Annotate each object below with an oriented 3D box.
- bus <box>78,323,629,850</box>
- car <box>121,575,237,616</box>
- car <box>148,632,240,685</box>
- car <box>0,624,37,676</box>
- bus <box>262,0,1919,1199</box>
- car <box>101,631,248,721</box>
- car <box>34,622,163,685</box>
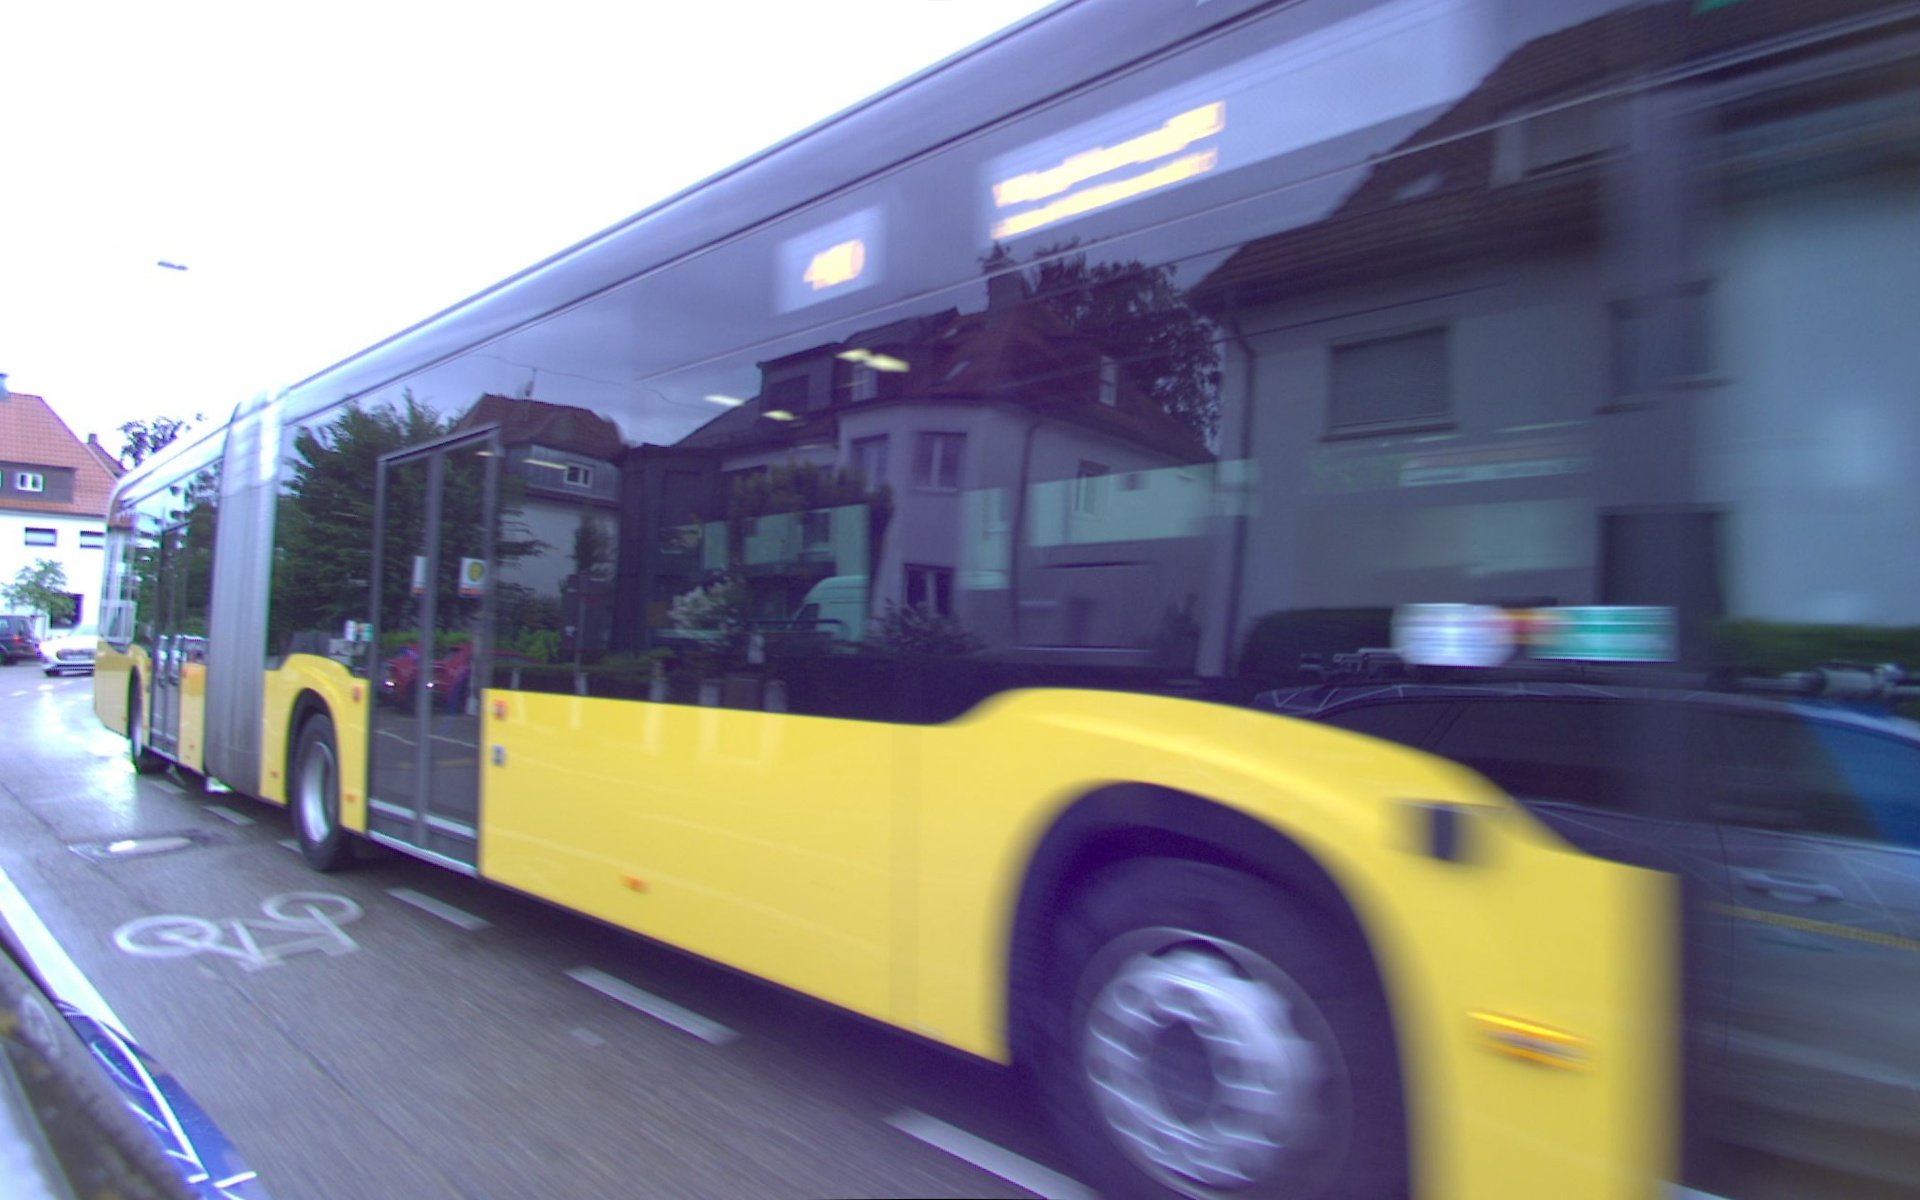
[{"bbox_3d":[-6.847,0.056,10.537,8.682,3.424,2.647,-2,-4,44],"label":"bus"},{"bbox_3d":[-42.502,-0.190,55.226,4.665,1.823,1.948,5,-4,-30],"label":"car"},{"bbox_3d":[-22.910,1.741,30.396,1.703,1.491,4.052,2,-4,-31],"label":"car"},{"bbox_3d":[-38.662,1.886,38.504,4.838,1.962,1.947,2,-2,-29],"label":"car"},{"bbox_3d":[0.055,-0.173,4.233,9.039,3.424,2.868,-2,-3,42],"label":"bus"},{"bbox_3d":[-14.966,1.394,19.289,1.968,1.491,4.494,3,-4,-39],"label":"car"},{"bbox_3d":[-25.239,1.500,29.807,1.765,1.712,3.903,0,-1,-23],"label":"car"}]
